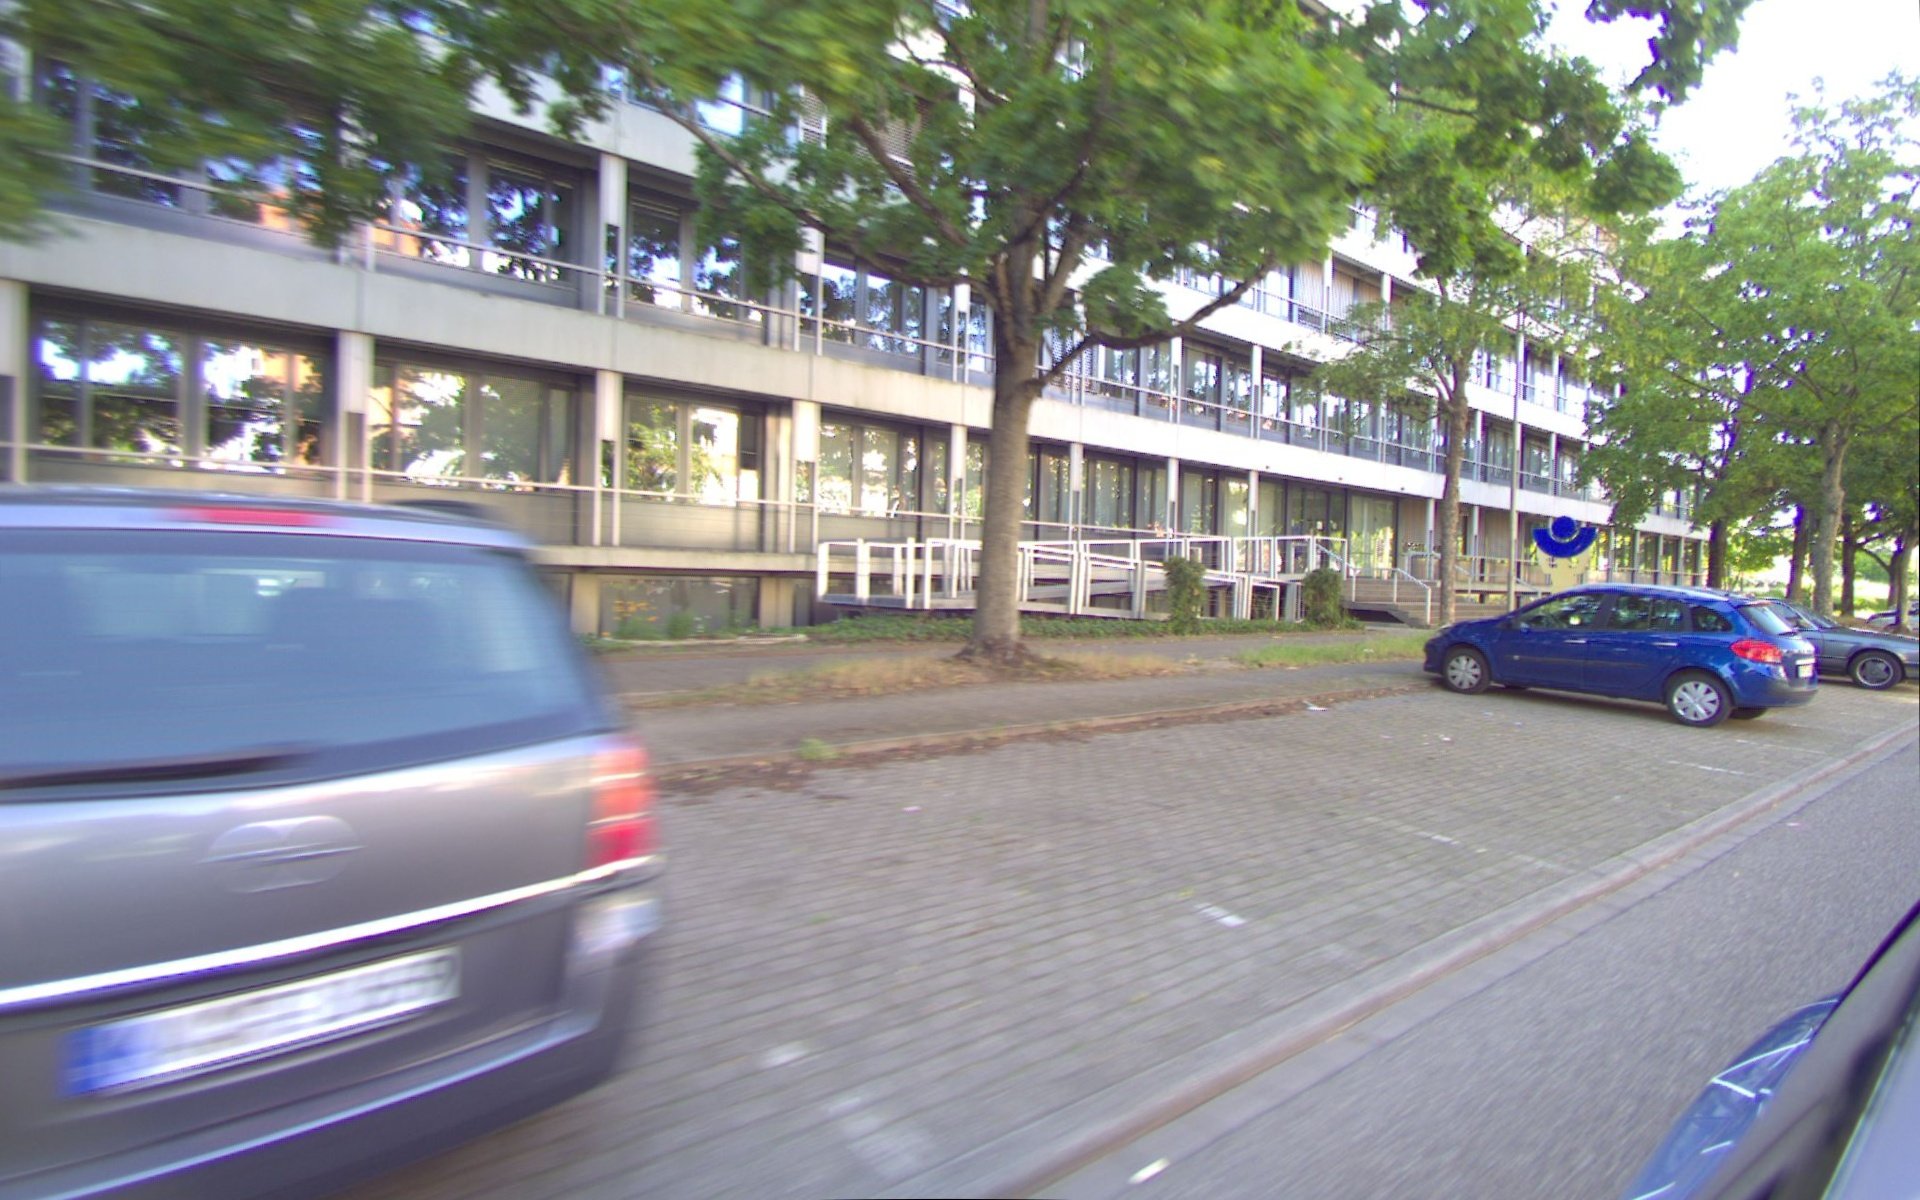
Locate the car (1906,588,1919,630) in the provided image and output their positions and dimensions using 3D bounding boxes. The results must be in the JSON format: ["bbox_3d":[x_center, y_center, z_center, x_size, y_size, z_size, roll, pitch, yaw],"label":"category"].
[{"bbox_3d":[36.935,0.452,36.430,1.773,1.497,3.995,0,4,-42],"label":"car"}]

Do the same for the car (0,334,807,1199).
[{"bbox_3d":[-2.449,0.381,3.194,1.876,1.687,4.130,0,3,-43],"label":"car"}]

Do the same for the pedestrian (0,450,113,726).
[{"bbox_3d":[-6.604,-0.100,7.104,1.001,1.820,1.037,0,2,-40],"label":"pedestrian"}]

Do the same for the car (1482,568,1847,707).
[{"bbox_3d":[9.844,0.412,14.451,1.557,1.512,3.921,0,4,-36],"label":"car"}]

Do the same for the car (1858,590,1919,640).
[{"bbox_3d":[30.865,0.511,31.624,1.773,1.497,3.994,0,3,-42],"label":"car"}]

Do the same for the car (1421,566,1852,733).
[{"bbox_3d":[8.056,0.458,12.425,1.681,1.512,4.002,0,4,-36],"label":"car"}]

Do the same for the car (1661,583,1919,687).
[{"bbox_3d":[14.568,0.533,17.343,1.560,1.398,3.913,-1,5,-42],"label":"car"}]

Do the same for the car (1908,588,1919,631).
[{"bbox_3d":[35.207,0.459,34.507,1.773,1.497,3.995,0,4,-42],"label":"car"}]
